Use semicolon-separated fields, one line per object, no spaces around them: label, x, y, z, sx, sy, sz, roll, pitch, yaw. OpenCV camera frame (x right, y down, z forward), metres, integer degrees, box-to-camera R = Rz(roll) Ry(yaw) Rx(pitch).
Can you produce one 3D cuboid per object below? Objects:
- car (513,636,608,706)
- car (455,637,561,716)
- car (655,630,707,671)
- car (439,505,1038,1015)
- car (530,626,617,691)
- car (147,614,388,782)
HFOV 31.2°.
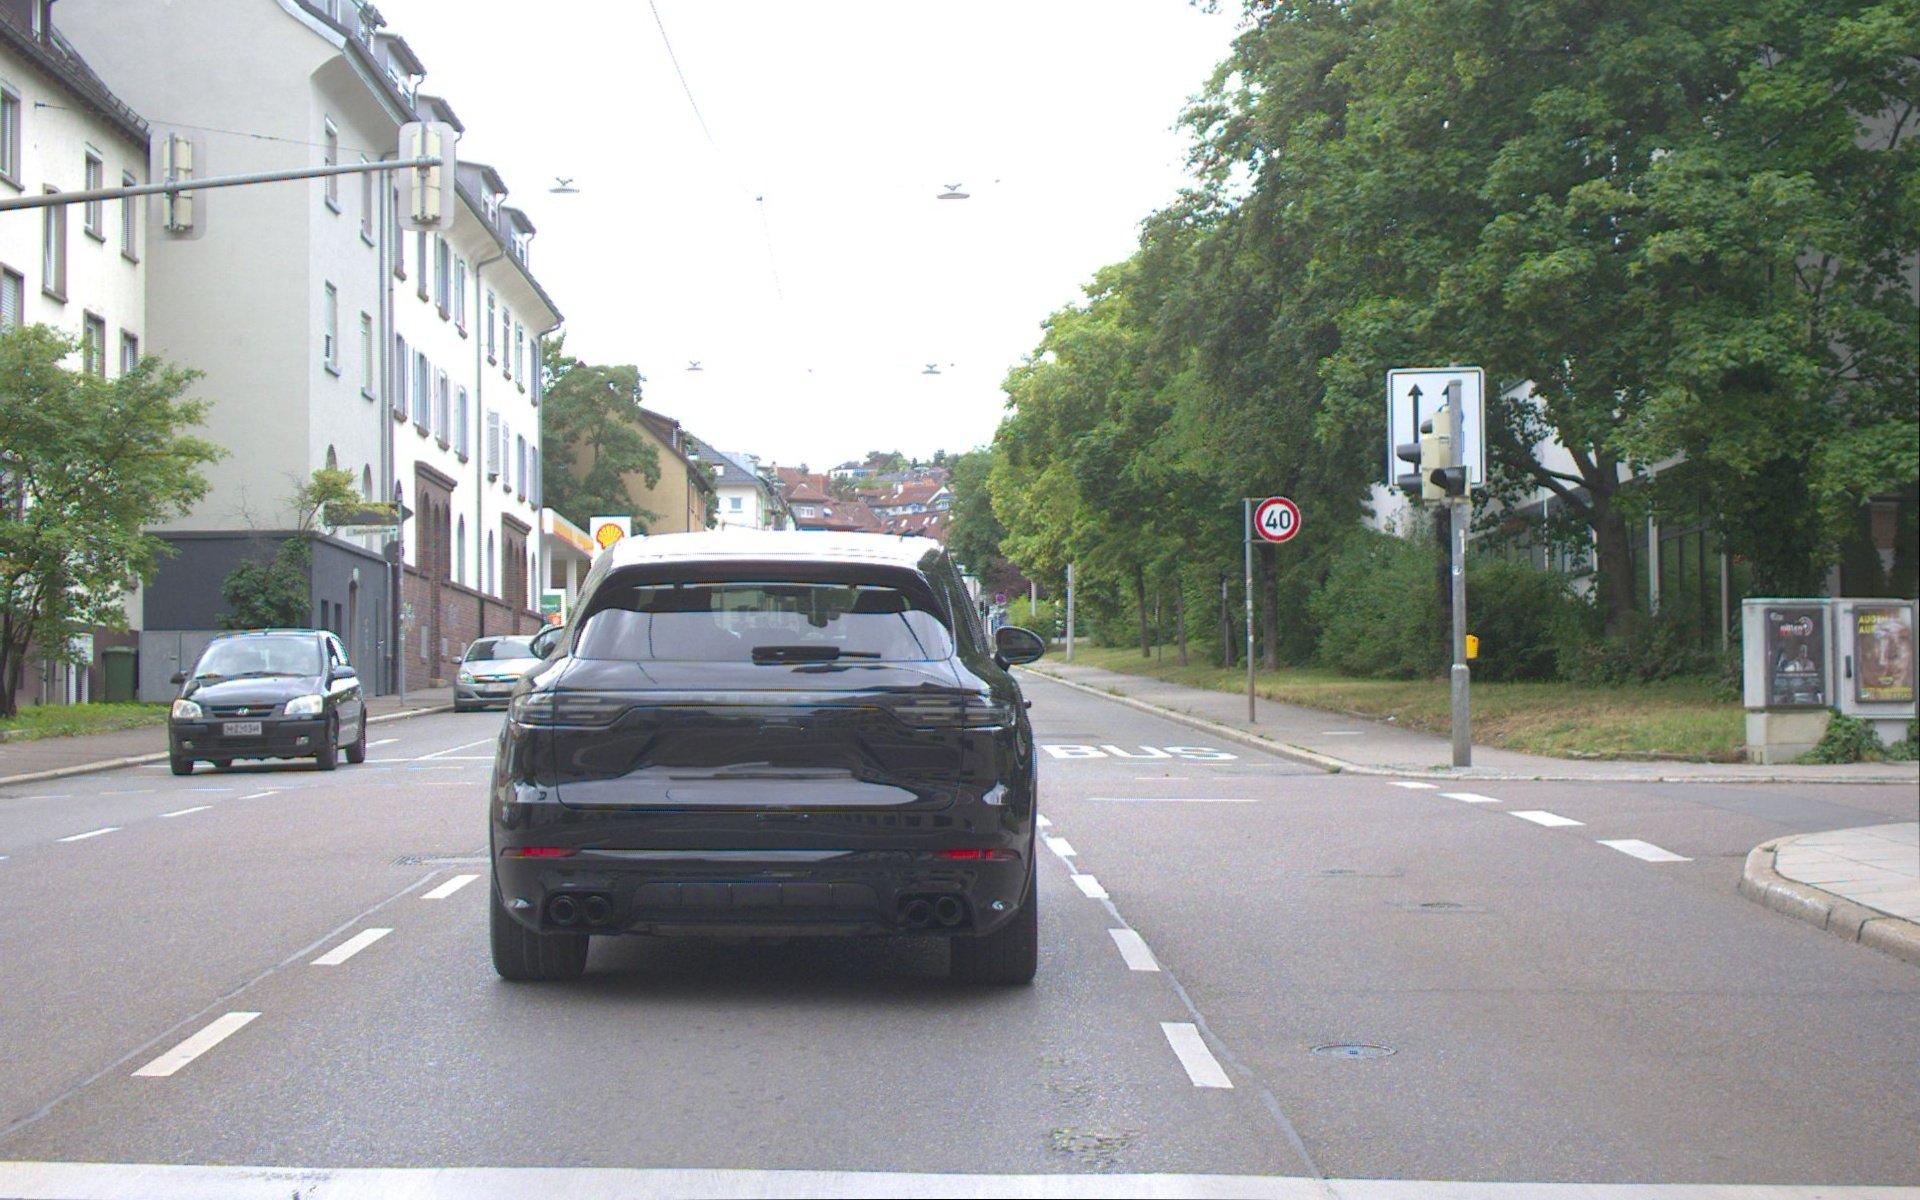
car;-8.325;1.462;71.859;1.669;1.357;4.000;0;0;-2
car;-8.393;1.401;64.081;1.669;1.357;4.001;0;0;-3
car;-9.777;1.761;120.531;1.669;1.357;4.000;0;0;-2
car;-0.770;0.527;13.615;1.993;1.691;4.000;1;0;-1
car;-8.682;1.300;77.538;1.669;1.357;4.000;0;0;-2
car;-7.154;0.976;35.842;1.664;1.514;3.739;-3;0;0
